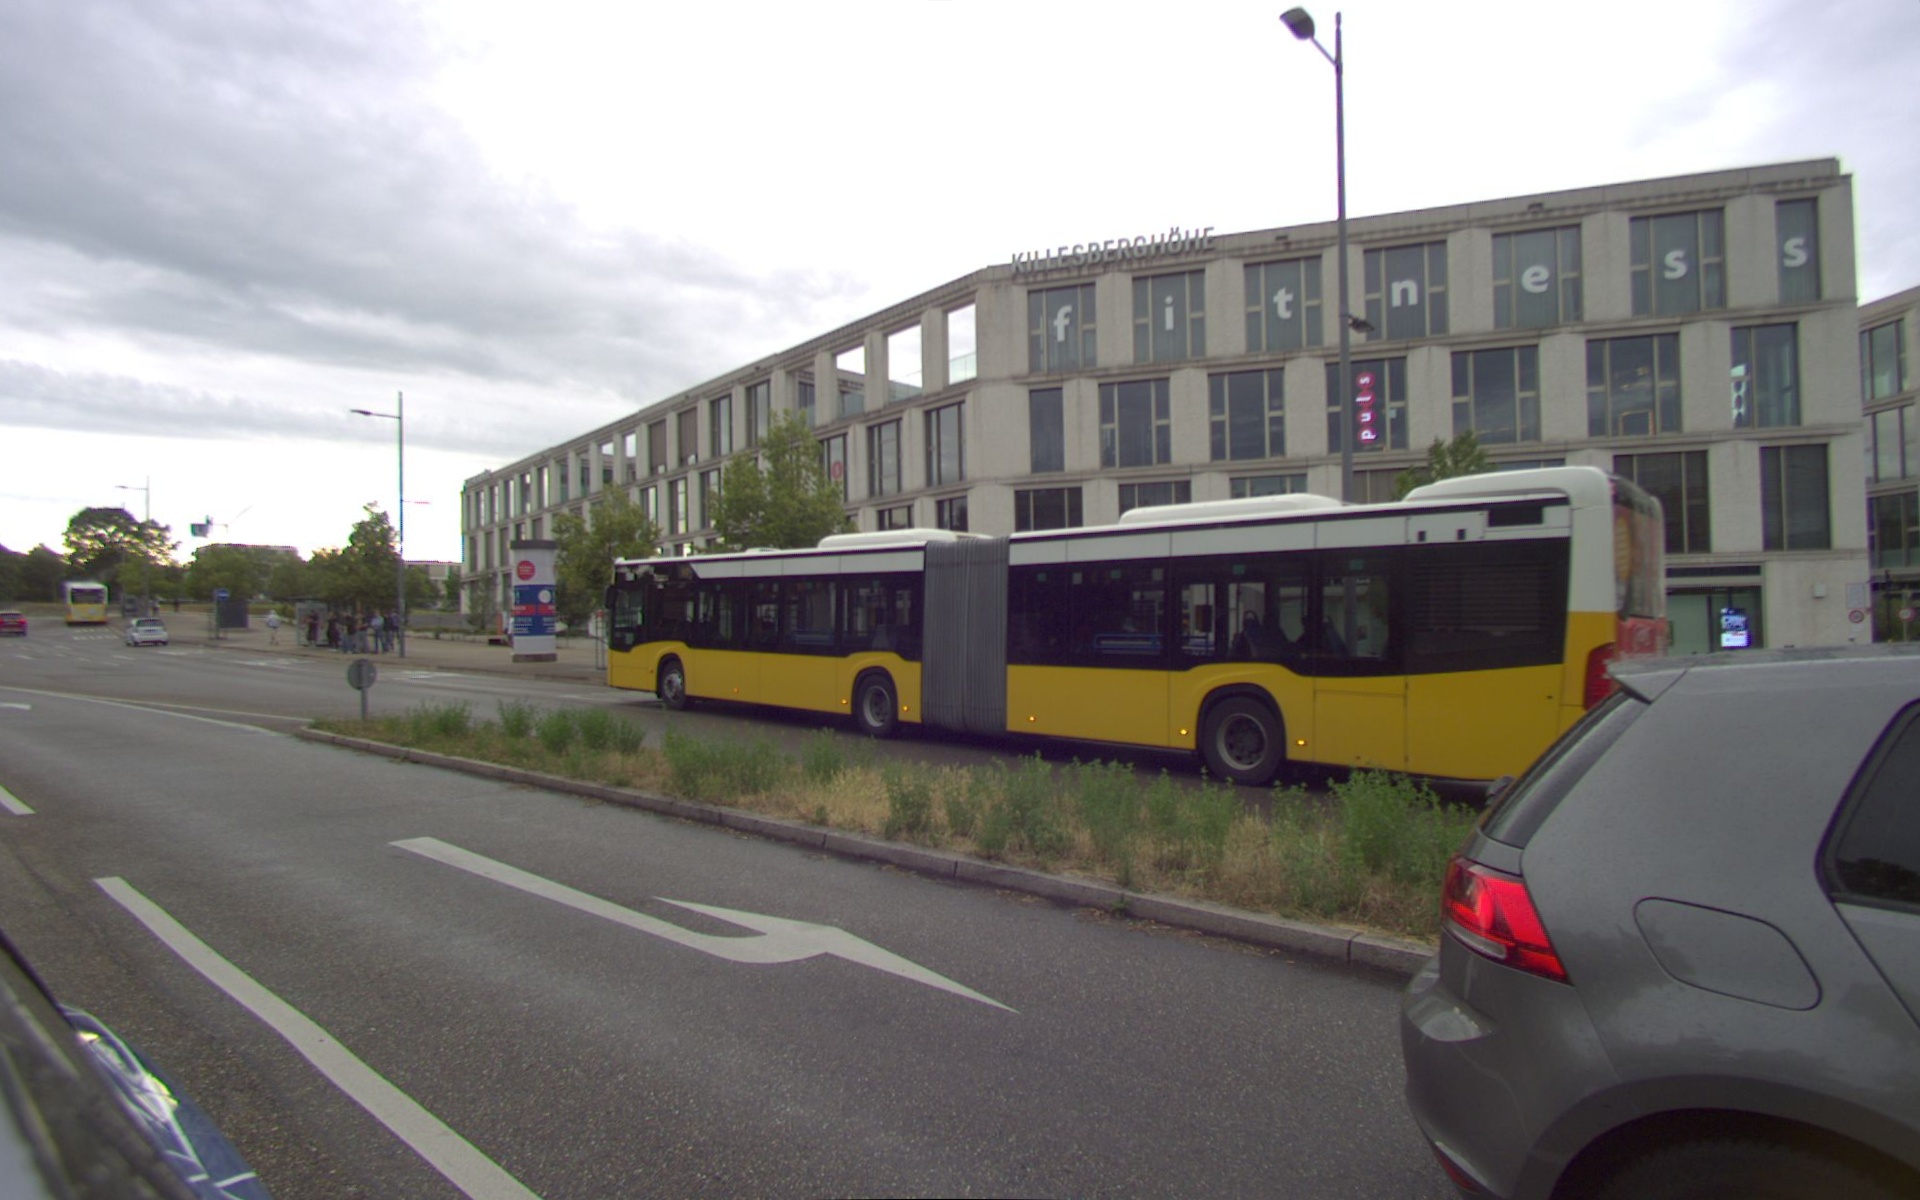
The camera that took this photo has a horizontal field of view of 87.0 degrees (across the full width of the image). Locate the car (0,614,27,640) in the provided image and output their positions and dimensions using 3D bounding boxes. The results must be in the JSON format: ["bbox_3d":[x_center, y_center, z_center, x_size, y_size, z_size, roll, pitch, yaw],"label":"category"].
[{"bbox_3d":[-65.089,1.860,68.835,4.734,1.696,1.834,-1,-3,41],"label":"car"}]

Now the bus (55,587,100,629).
[{"bbox_3d":[-79.387,0.628,90.981,2.787,3.498,9.987,-1,2,-42],"label":"bus"}]

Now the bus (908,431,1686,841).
[{"bbox_3d":[3.304,0.375,12.276,8.579,3.333,2.855,-1,-2,45],"label":"bus"}]

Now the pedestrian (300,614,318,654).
[{"bbox_3d":[-30.817,1.611,47.897,0.755,1.856,0.502,-1,-1,40],"label":"pedestrian"}]

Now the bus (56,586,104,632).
[{"bbox_3d":[-73.278,0.679,84.229,2.787,3.498,8.241,-1,2,-42],"label":"bus"}]

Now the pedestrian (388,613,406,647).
[{"bbox_3d":[-29.627,1.550,53.242,0.857,1.775,0.592,-1,-1,43],"label":"pedestrian"}]

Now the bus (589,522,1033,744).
[{"bbox_3d":[-3.279,0.553,18.720,9.761,3.127,2.855,-1,-2,45],"label":"bus"}]

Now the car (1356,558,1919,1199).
[{"bbox_3d":[2.909,0.678,1.217,4.196,1.441,1.786,-1,-3,42],"label":"car"}]

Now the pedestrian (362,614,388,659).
[{"bbox_3d":[-24.578,1.508,42.523,0.746,1.856,0.745,-1,-1,43],"label":"pedestrian"}]

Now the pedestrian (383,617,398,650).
[{"bbox_3d":[-25.699,1.510,45.684,0.510,1.462,0.422,-1,-1,41],"label":"pedestrian"}]

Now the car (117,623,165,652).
[{"bbox_3d":[-46.637,2.124,57.613,2.971,1.519,1.597,0,1,41],"label":"car"}]
